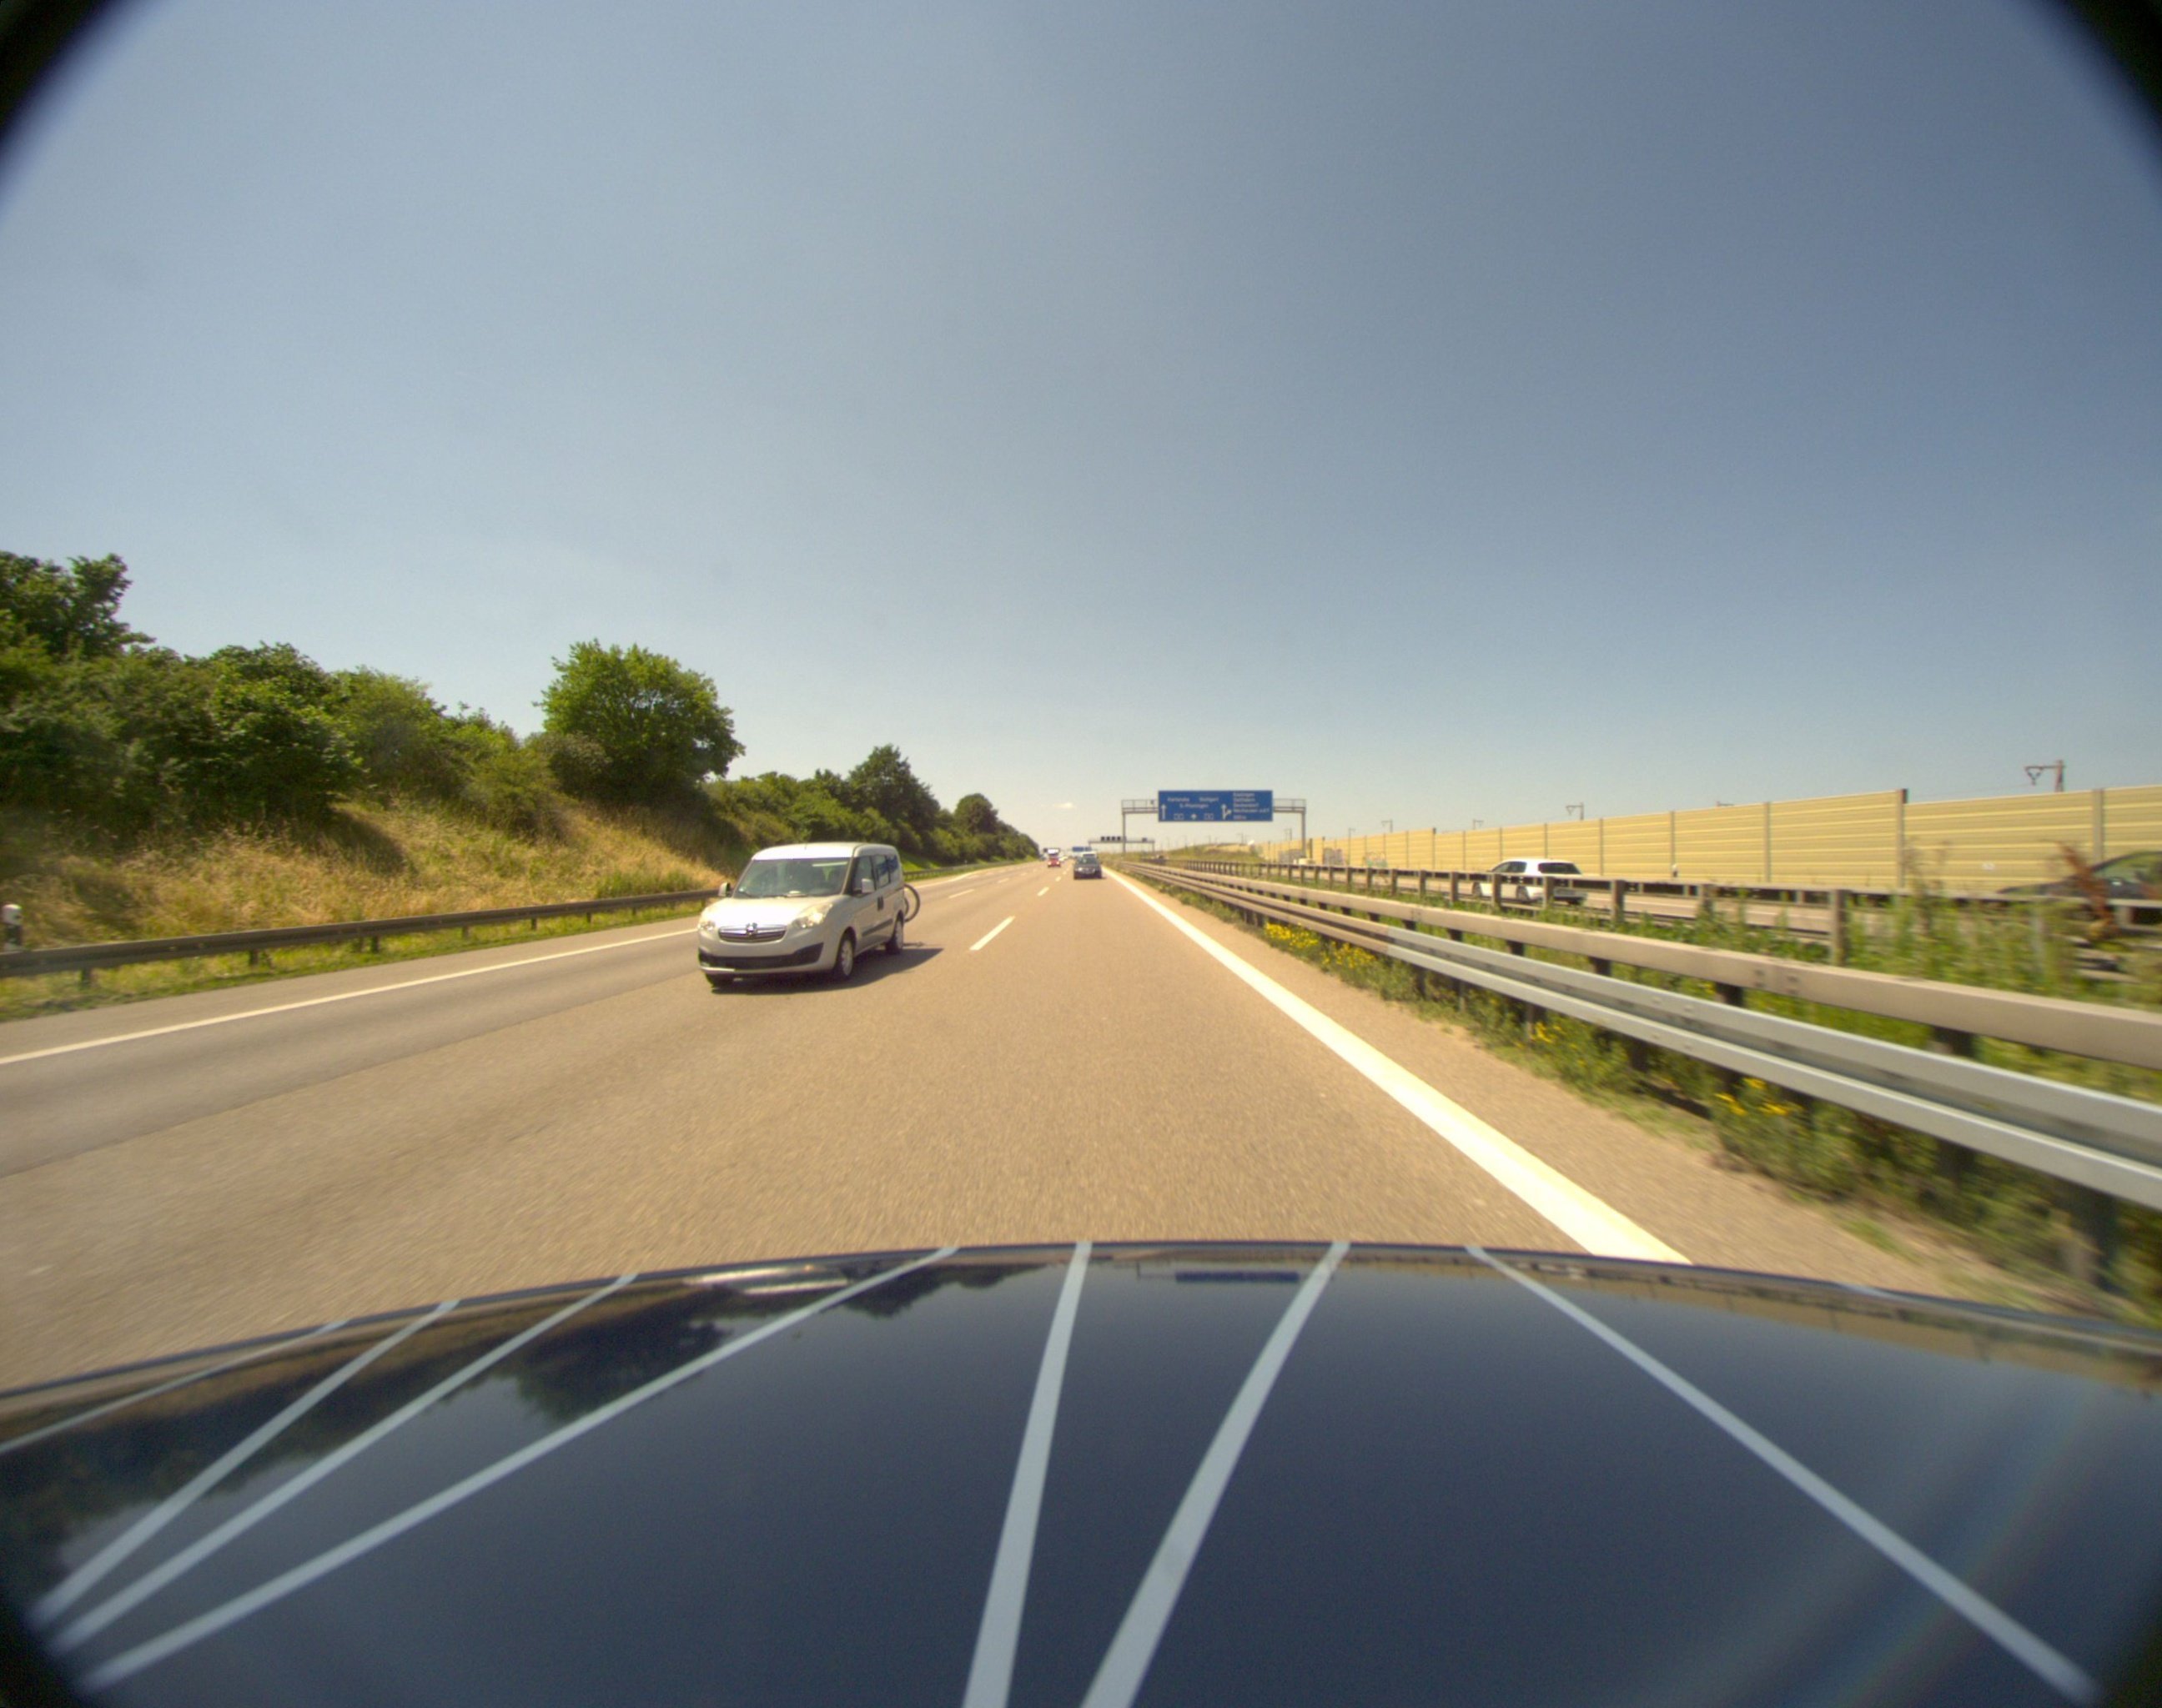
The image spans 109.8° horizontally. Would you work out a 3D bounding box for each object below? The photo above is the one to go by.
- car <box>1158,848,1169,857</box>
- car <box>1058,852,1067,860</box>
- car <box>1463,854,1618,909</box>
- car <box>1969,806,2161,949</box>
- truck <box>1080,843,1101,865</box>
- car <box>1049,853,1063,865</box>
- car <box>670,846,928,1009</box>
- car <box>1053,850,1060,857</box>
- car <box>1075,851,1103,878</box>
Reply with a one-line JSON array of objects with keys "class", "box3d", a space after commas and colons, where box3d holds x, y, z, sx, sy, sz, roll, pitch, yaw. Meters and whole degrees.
[{"class": "car", "box3d": [18.198, -0.324, 168.160, 1.998, 2.002, 4.000, 0, 0, 0]}, {"class": "car", "box3d": [-3.851, 0.423, 161.717, 1.723, 1.514, 3.581, -2, 1, 0]}, {"class": "car", "box3d": [14.048, 0.784, 23.634, 1.898, 1.422, 4.723, 2, 1, 0]}, {"class": "car", "box3d": [17.675, 0.328, 11.700, 1.999, 2.212, 5.097, -2, 0, 0]}, {"class": "truck", "box3d": [1.072, 0.007, 88.580, 2.333, 2.378, 6.686, -2, 1, 0]}, {"class": "car", "box3d": [-3.311, 0.641, 101.980, 1.723, 1.514, 3.581, -2, 1, 0]}, {"class": "car", "box3d": [-3.801, 0.842, 11.445, 1.812, 1.836, 5.312, -2, 0, 0]}, {"class": "car", "box3d": [-7.799, -0.050, 239.714, 1.998, 2.002, 3.999, -2, 1, 0]}, {"class": "car", "box3d": [0.517, 0.654, 49.402, 1.715, 1.586, 4.547, -3, 0, 0]}]
